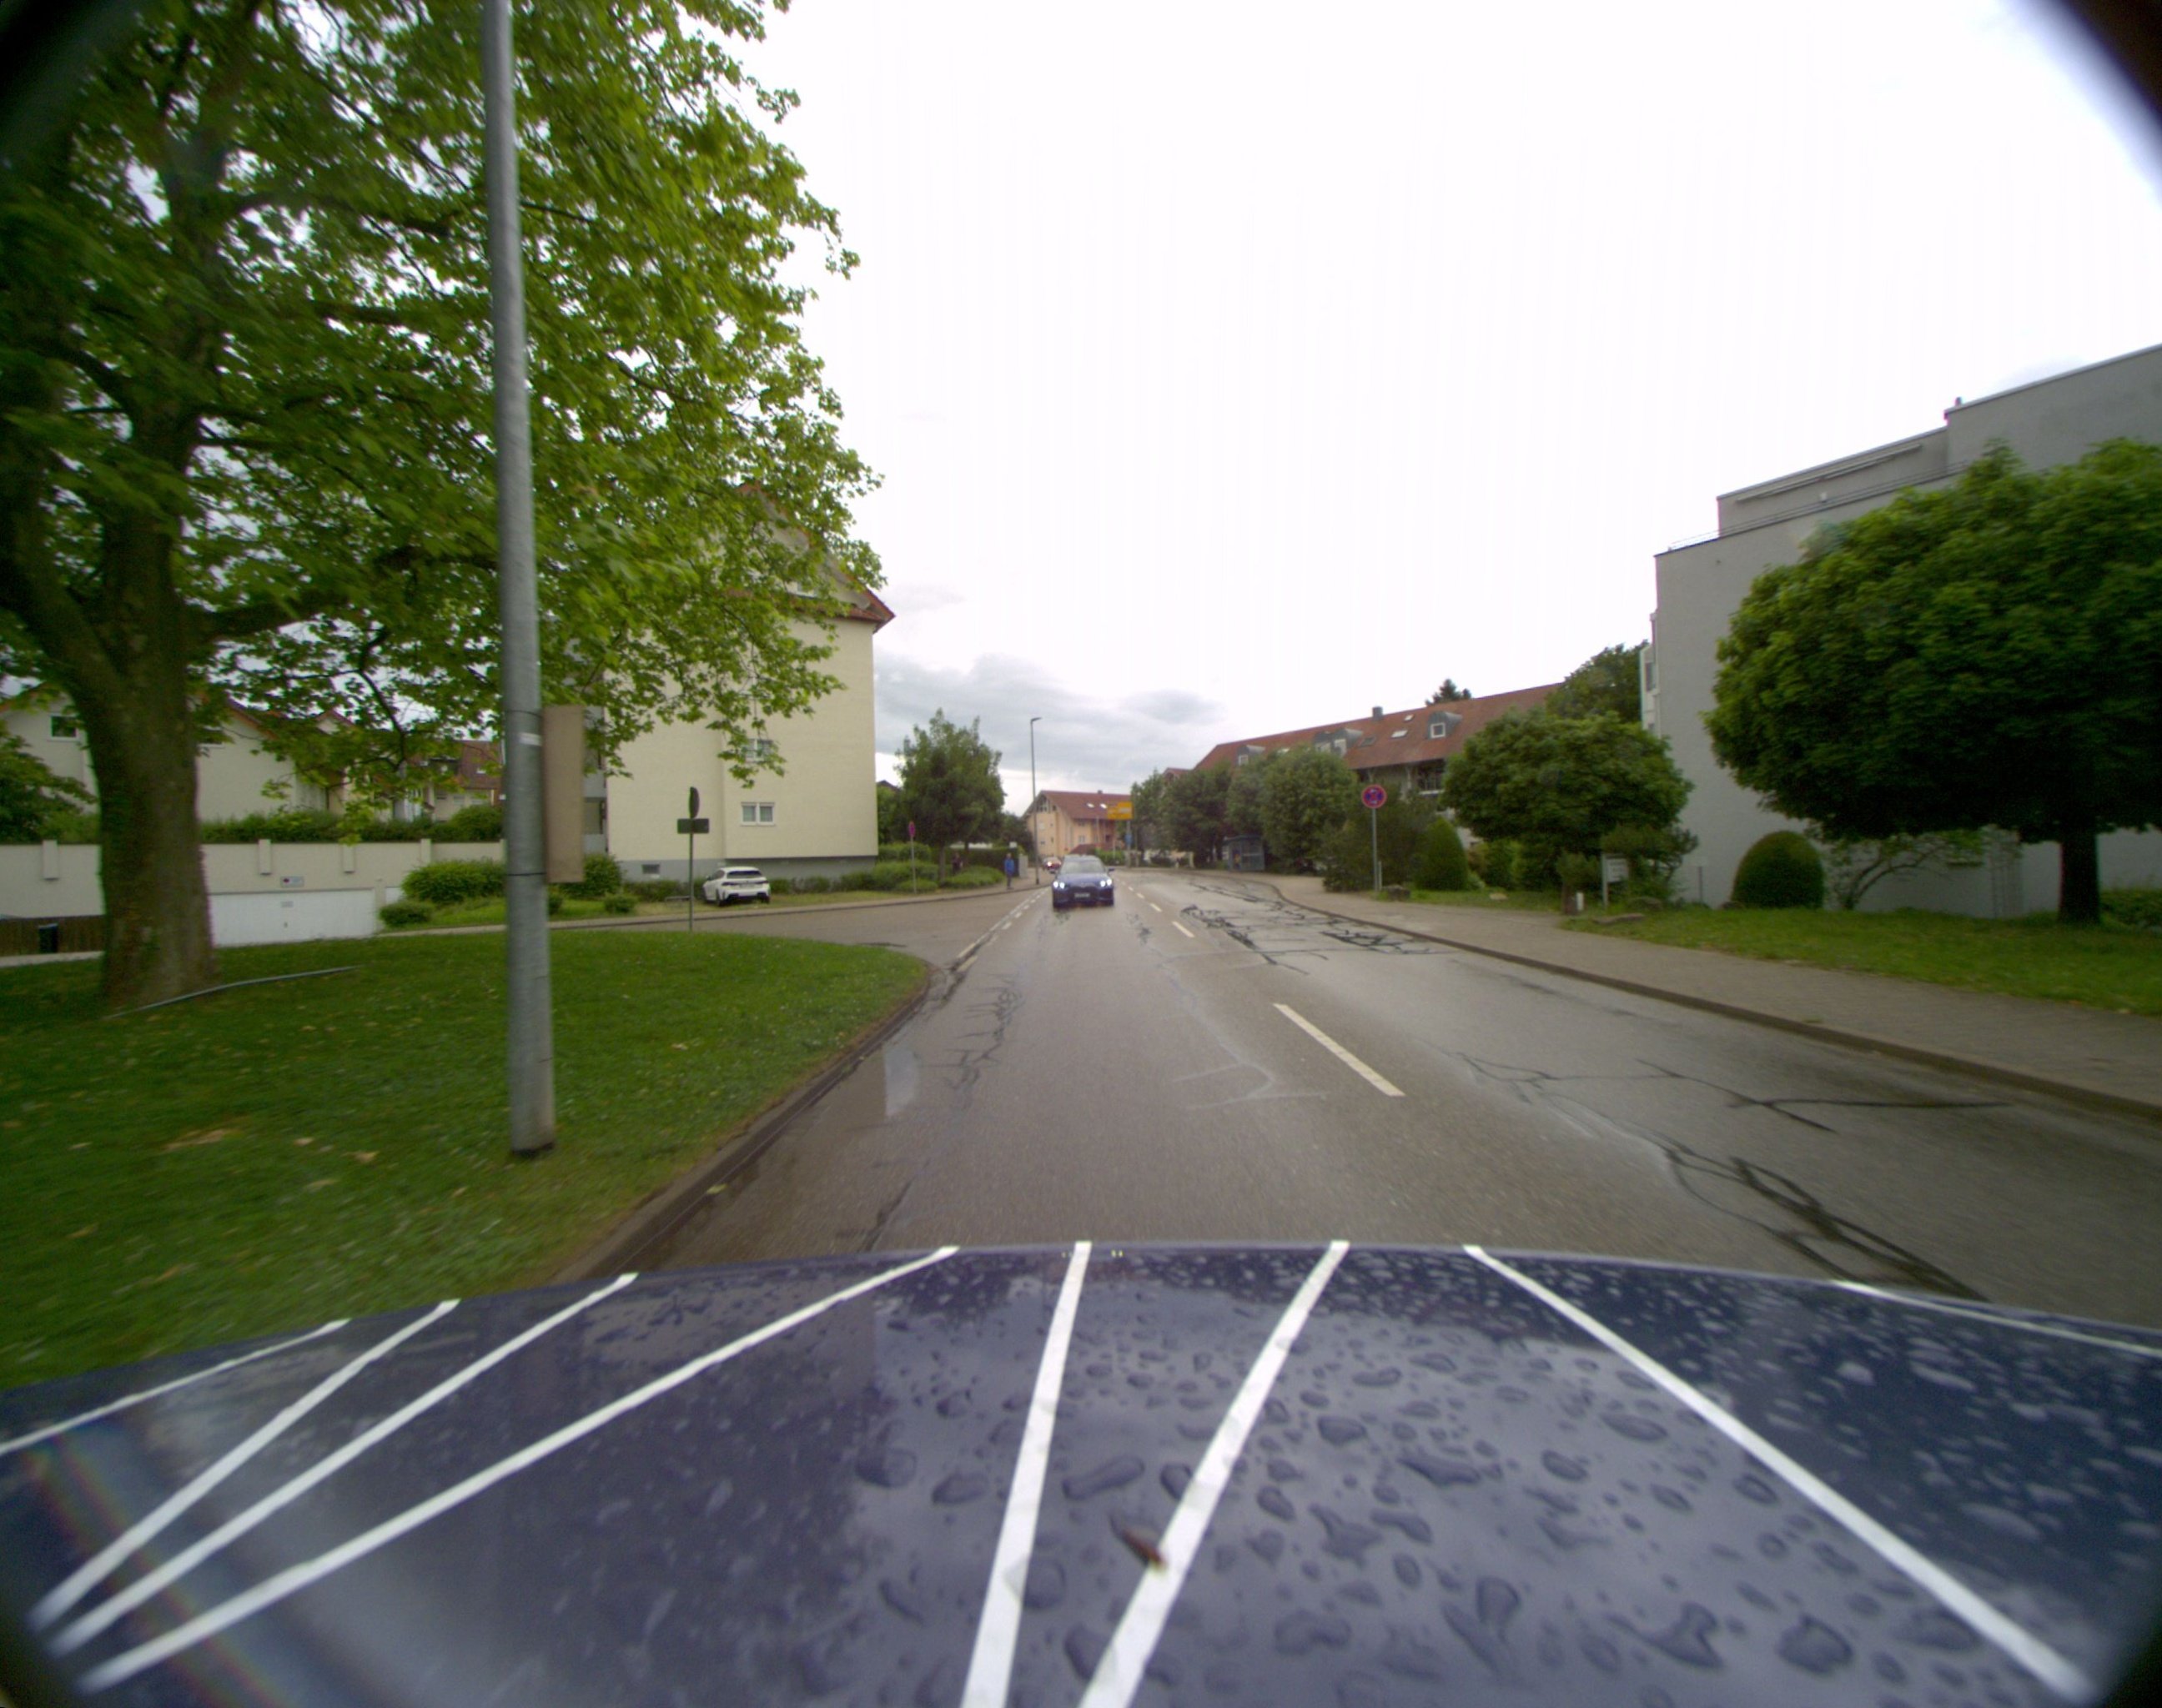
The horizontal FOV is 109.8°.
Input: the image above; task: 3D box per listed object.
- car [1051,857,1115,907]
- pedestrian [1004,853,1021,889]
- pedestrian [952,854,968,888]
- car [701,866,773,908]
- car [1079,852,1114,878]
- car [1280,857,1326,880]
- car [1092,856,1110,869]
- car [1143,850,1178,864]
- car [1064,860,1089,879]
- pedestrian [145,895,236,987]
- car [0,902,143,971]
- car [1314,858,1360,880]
[{"bbox_3d":[0.006,0.872,25.426,1.913,1.425,4.300,-2,0,-2],"label":"car"},{"bbox_3d":[-3.206,0.789,35.565,0.591,1.657,0.774,-3,1,-16],"label":"pedestrian"},{"bbox_3d":[-6.403,0.904,40.184,0.616,1.762,0.669,-3,1,-23],"label":"pedestrian"},{"bbox_3d":[-13.263,1.215,29.205,1.750,1.472,3.759,-1,0,-36],"label":"car"},{"bbox_3d":[0.986,0.616,45.021,1.840,1.440,4.001,-2,0,4],"label":"car"},{"bbox_3d":[15.774,1.019,54.093,1.774,1.455,3.998,-2,1,-5],"label":"car"},{"bbox_3d":[2.273,0.959,88.889,1.678,1.434,3.998,-2,1,-4],"label":"car"},{"bbox_3d":[9.466,0.338,90.582,1.741,1.592,3.989,-1,0,-40],"label":"car"},{"bbox_3d":[-0.445,1.401,69.678,1.841,1.541,3.998,-2,0,-5],"label":"car"},{"bbox_3d":[-16.641,1.589,14.214,0.736,1.574,0.952,-2,1,33],"label":"pedestrian"},{"bbox_3d":[-32.531,2.534,22.893,4.938,1.813,1.997,-2,0,-33],"label":"car"},{"bbox_3d":[18.183,1.027,54.209,1.615,1.455,3.998,-2,1,-5],"label":"car"}]
